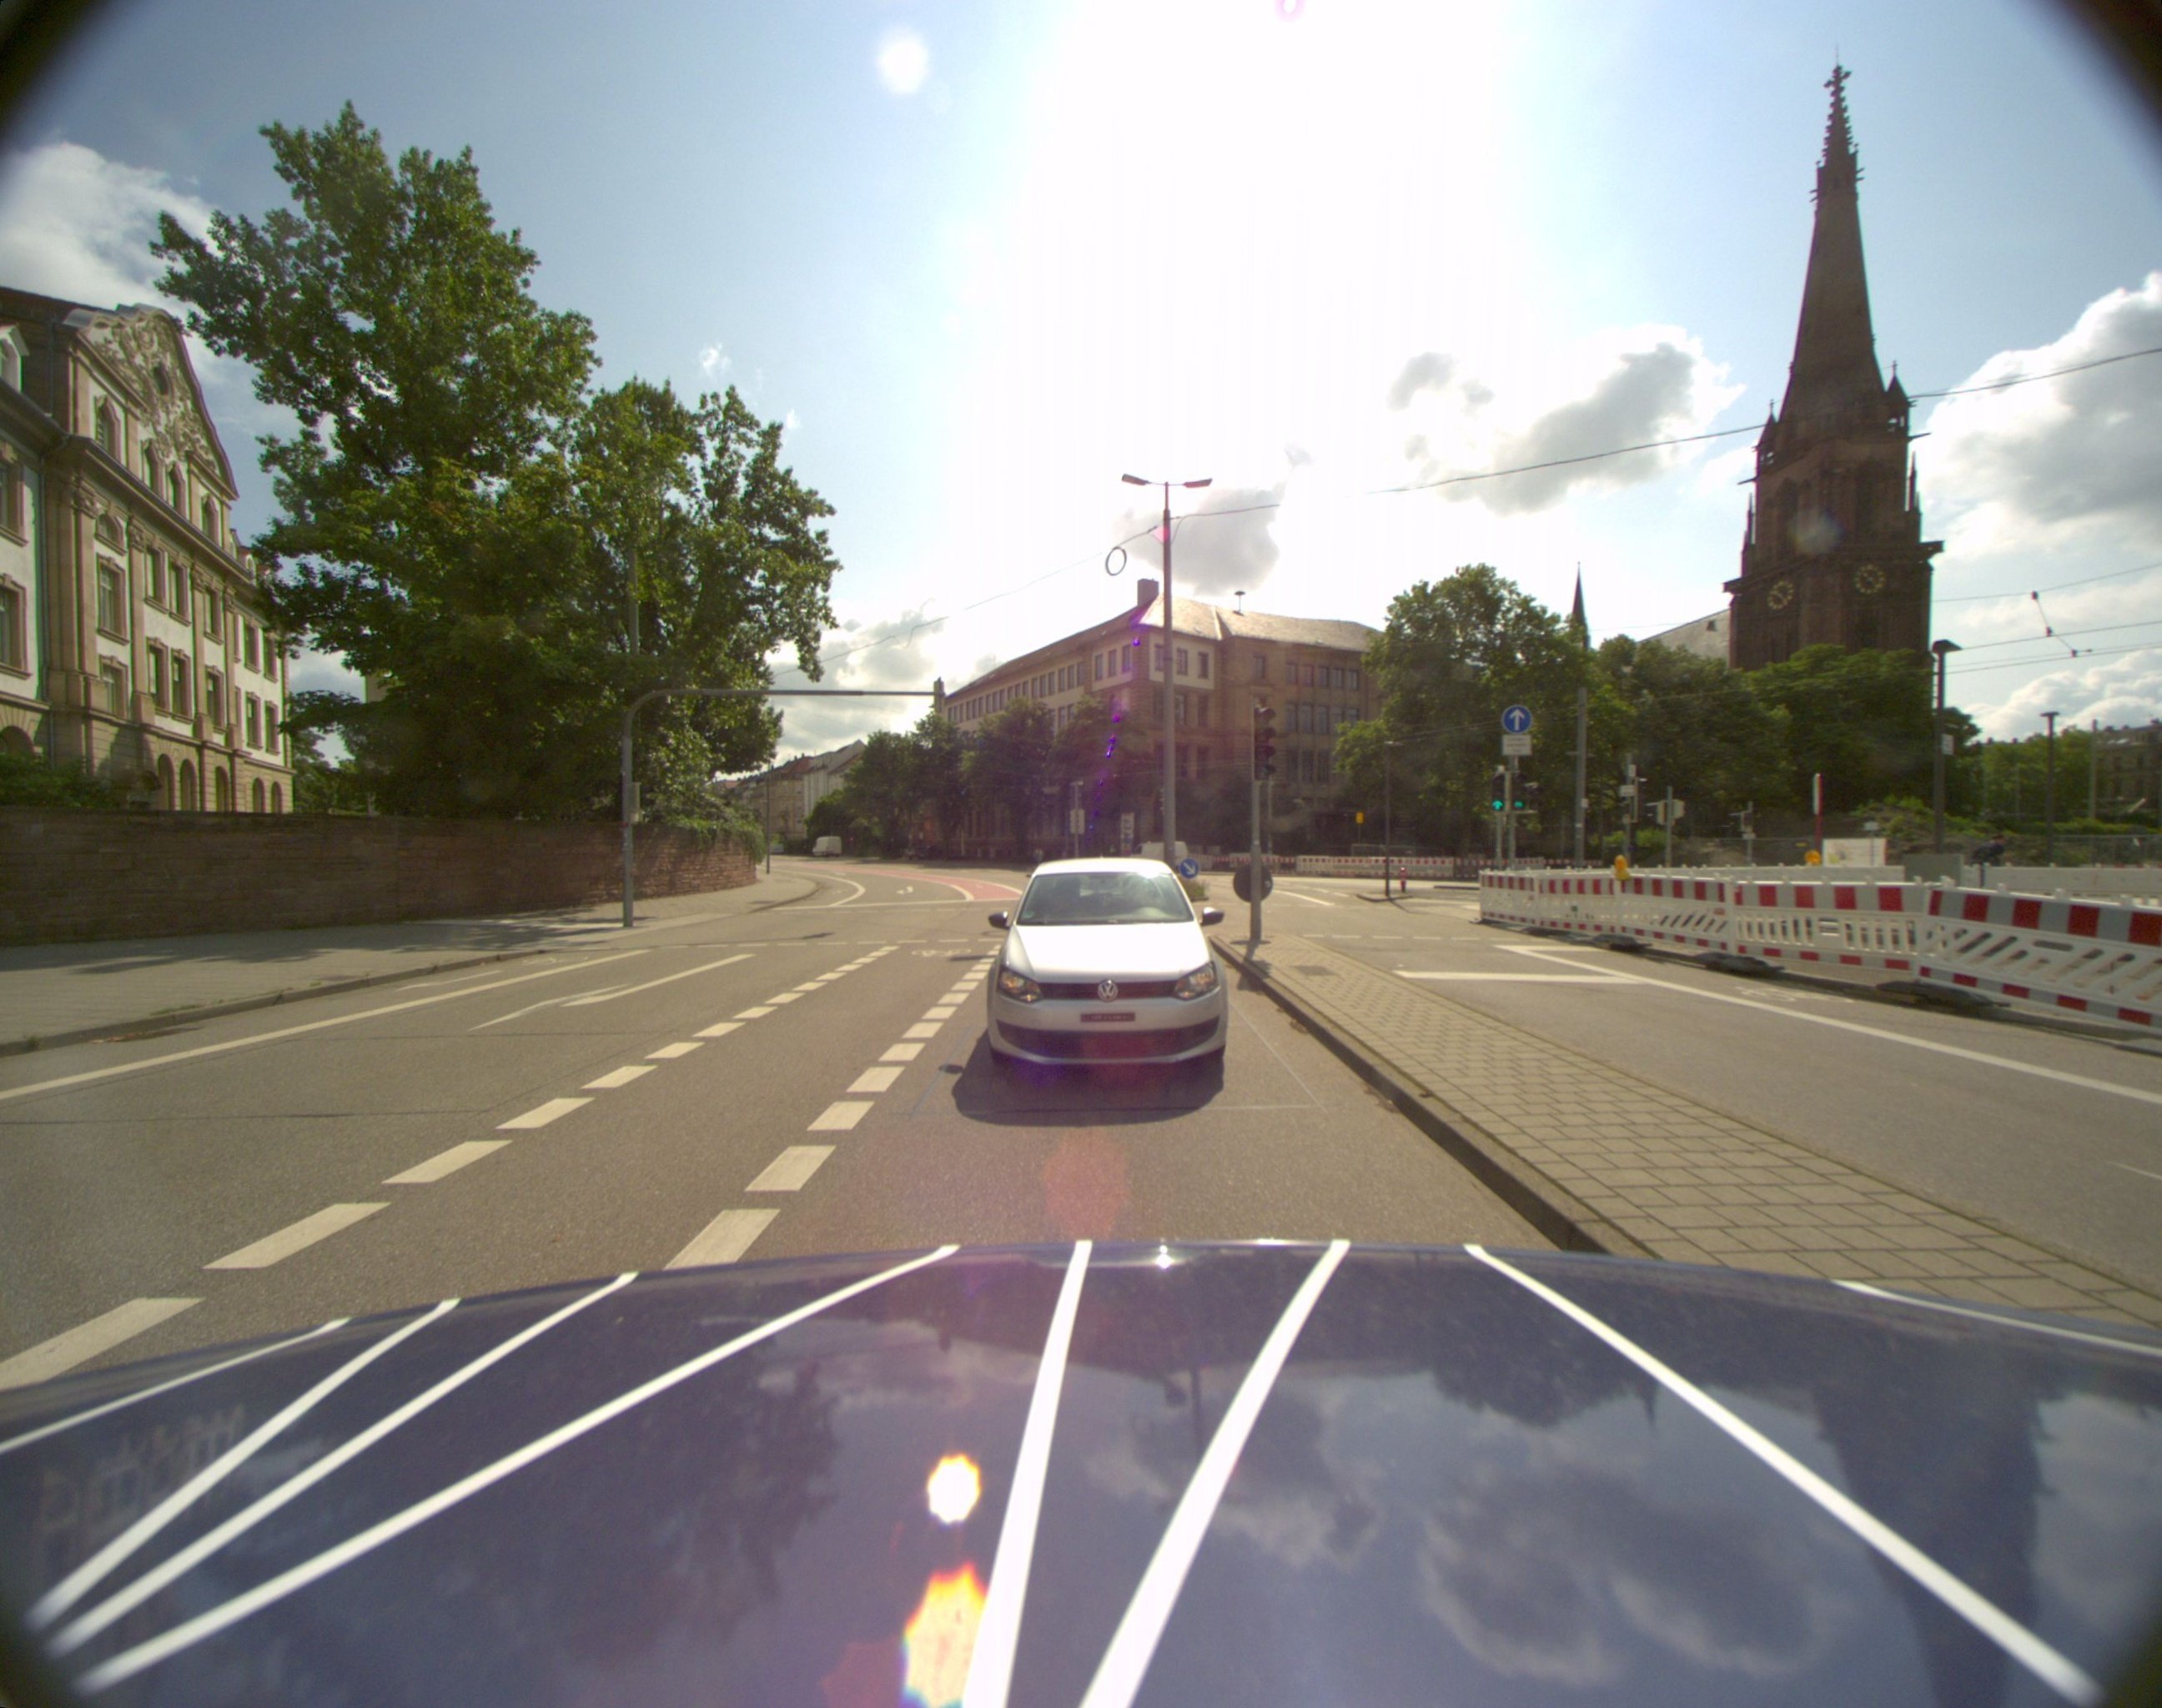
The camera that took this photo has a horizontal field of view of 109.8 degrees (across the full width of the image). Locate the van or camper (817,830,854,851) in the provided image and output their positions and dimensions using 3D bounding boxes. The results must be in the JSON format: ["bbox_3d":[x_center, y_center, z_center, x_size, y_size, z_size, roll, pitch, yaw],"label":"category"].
[{"bbox_3d":[-31.916,-1.787,98.621,2.981,2.587,6.740,0,1,-33],"label":"van or camper"}]

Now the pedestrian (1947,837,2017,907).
[{"bbox_3d":[22.692,0.428,19.144,1.209,1.696,0.840,0,1,-26],"label":"pedestrian"}]

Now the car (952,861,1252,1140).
[{"bbox_3d":[0.148,0.859,6.338,1.655,1.434,4.004,-2,1,1],"label":"car"}]

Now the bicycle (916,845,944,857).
[{"bbox_3d":[-16.921,-0.344,85.155,2.891,1.201,1.050,0,4,9],"label":"bicycle"}]

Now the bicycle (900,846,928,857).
[{"bbox_3d":[-19.195,-0.310,87.432,2.891,1.201,1.073,0,4,9],"label":"bicycle"}]
